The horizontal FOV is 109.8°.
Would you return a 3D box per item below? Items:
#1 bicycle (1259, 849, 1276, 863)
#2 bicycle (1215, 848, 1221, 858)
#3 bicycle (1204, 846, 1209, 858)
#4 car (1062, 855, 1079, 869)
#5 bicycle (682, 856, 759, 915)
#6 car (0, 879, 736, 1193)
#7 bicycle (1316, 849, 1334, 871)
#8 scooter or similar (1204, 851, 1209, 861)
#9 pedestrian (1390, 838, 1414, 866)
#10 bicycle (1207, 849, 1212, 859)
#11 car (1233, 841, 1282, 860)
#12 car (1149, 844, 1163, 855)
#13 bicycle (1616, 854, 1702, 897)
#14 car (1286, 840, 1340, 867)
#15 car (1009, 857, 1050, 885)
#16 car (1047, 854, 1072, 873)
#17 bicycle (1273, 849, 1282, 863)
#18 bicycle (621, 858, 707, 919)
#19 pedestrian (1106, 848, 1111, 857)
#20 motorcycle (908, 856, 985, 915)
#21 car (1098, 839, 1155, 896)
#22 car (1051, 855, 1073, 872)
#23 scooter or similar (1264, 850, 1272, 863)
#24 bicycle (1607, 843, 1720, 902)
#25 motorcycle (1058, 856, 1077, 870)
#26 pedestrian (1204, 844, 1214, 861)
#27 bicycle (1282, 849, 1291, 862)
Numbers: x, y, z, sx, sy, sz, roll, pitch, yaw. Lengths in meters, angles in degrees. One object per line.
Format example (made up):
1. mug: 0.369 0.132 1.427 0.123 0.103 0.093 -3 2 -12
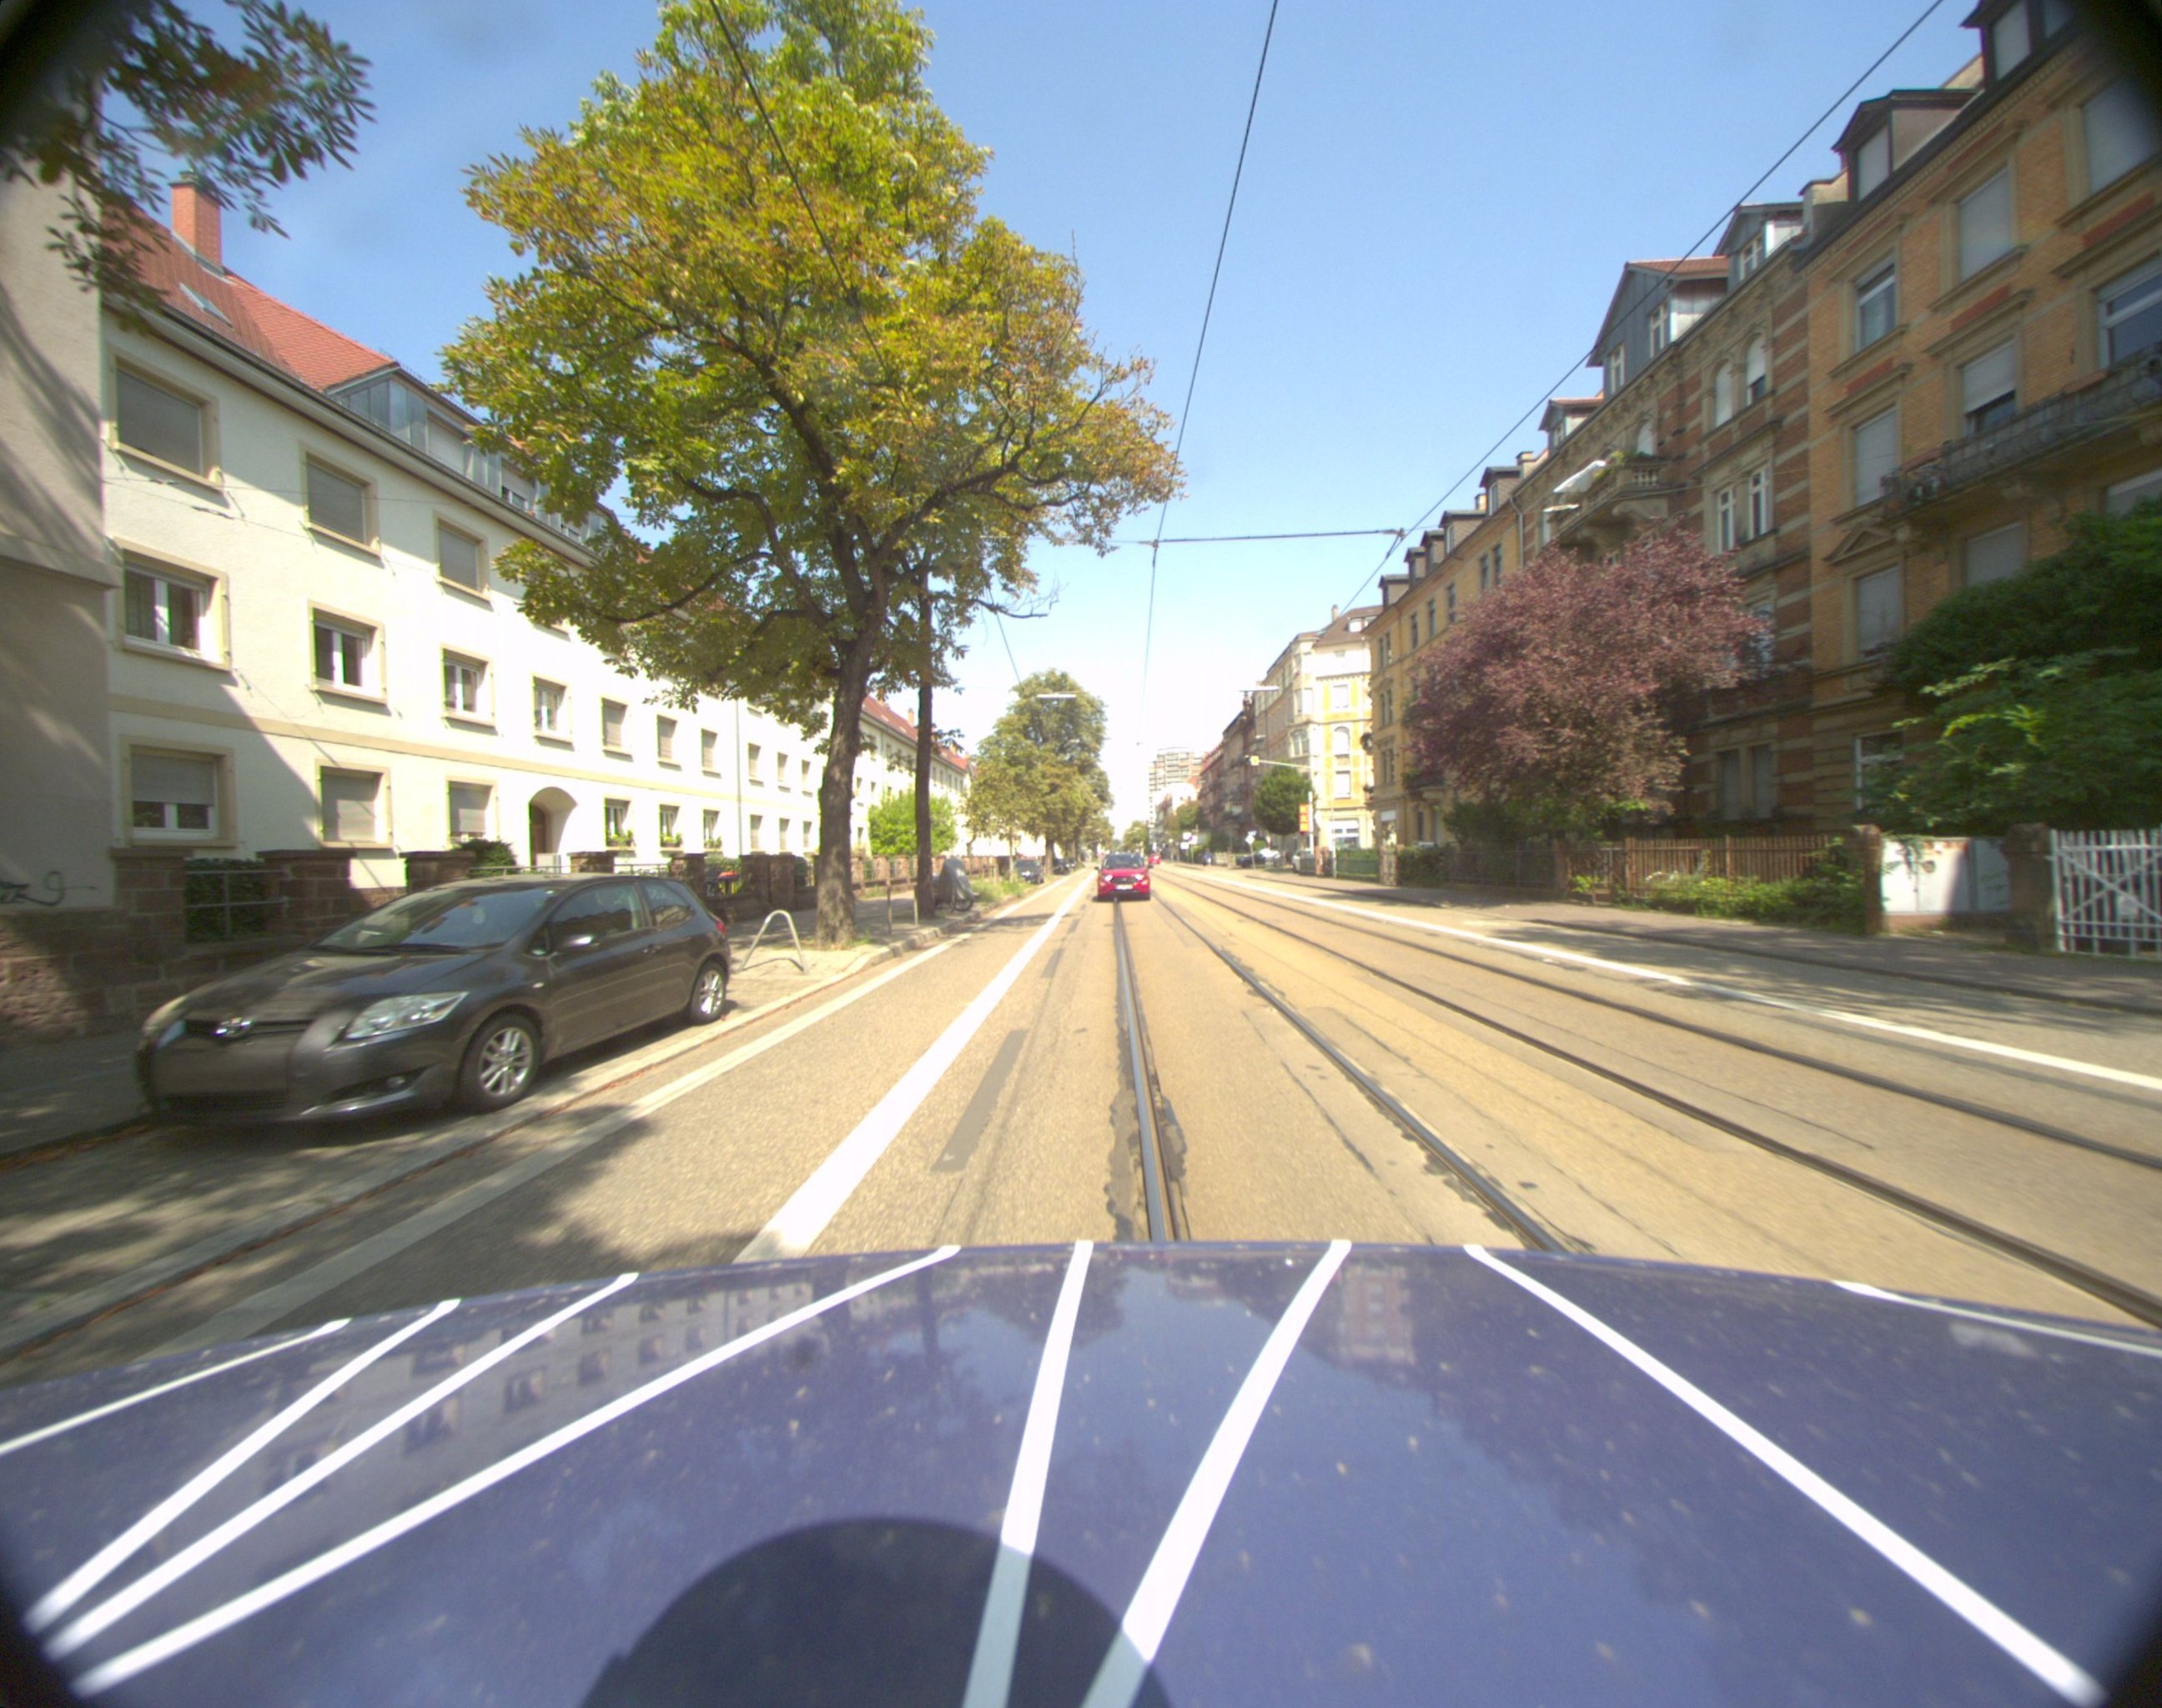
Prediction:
1. bicycle: 16.130 0.179 65.600 1.453 1.092 0.390 -2 0 -20
2. bicycle: 14.598 -0.103 80.882 0.391 1.032 1.833 -1 0 3
3. bicycle: 14.906 -0.197 90.596 0.391 1.397 1.582 -1 0 3
4. car: -1.138 0.867 84.597 1.620 1.468 4.039 0 0 3
5. bicycle: -8.984 0.740 19.075 0.595 1.350 2.369 -1 1 5
6. car: -4.603 0.994 5.907 1.845 1.523 4.116 -1 -1 2
7. bicycle: 12.446 0.306 38.847 0.391 1.092 1.568 -1 0 0
8. scooter or similar: 13.421 0.221 81.323 0.401 0.977 0.584 -3 1 -6
9. pedestrian: 17.552 -0.133 41.578 0.870 1.502 0.885 -1 1 -6
10. bicycle: 14.651 -0.002 86.794 0.391 1.141 1.582 -1 0 3
11. car: 16.264 -0.283 70.201 4.111 1.585 1.879 -2 1 4
12. car: 11.108 -0.658 112.507 1.736 1.481 4.000 -1 0 2
13. bicycle: 13.908 0.502 18.283 1.820 0.905 0.715 -3 1 -18
14. car: 14.708 -0.026 48.340 1.999 1.585 4.358 -1 0 -1
15. car: -2.910 0.940 43.949 1.897 1.468 4.840 -1 0 2
16. car: -1.727 0.768 62.343 1.760 1.468 4.386 -1 0 2
17. bicycle: 16.640 0.170 64.191 0.389 1.092 1.454 -2 0 28
18. bicycle: -10.180 0.794 18.661 0.595 1.350 2.369 -1 1 5
19. pedestrian: 5.578 -0.382 156.397 0.676 1.874 0.921 -2 1 -17
20. motorcycle: -3.910 0.860 21.933 2.339 1.531 0.971 2 3 43
21. car: 1.632 0.411 26.576 1.802 1.801 4.417 -1 1 5
22. car: -1.786 0.884 73.671 1.759 1.469 4.457 2 1 3
23. scooter or similar: 15.791 0.213 64.274 0.597 1.092 1.390 -2 0 13
24. bicycle: 12.637 0.387 16.521 1.816 1.175 0.716 -3 1 4
25. motorcycle: -1.448 0.939 80.556 2.009 1.360 0.782 -1 1 0
26. pedestrian: 13.623 -0.140 80.815 0.885 1.746 0.870 -1 1 2
27. bicycle: 17.233 0.127 63.791 0.389 1.092 1.454 -2 0 28
